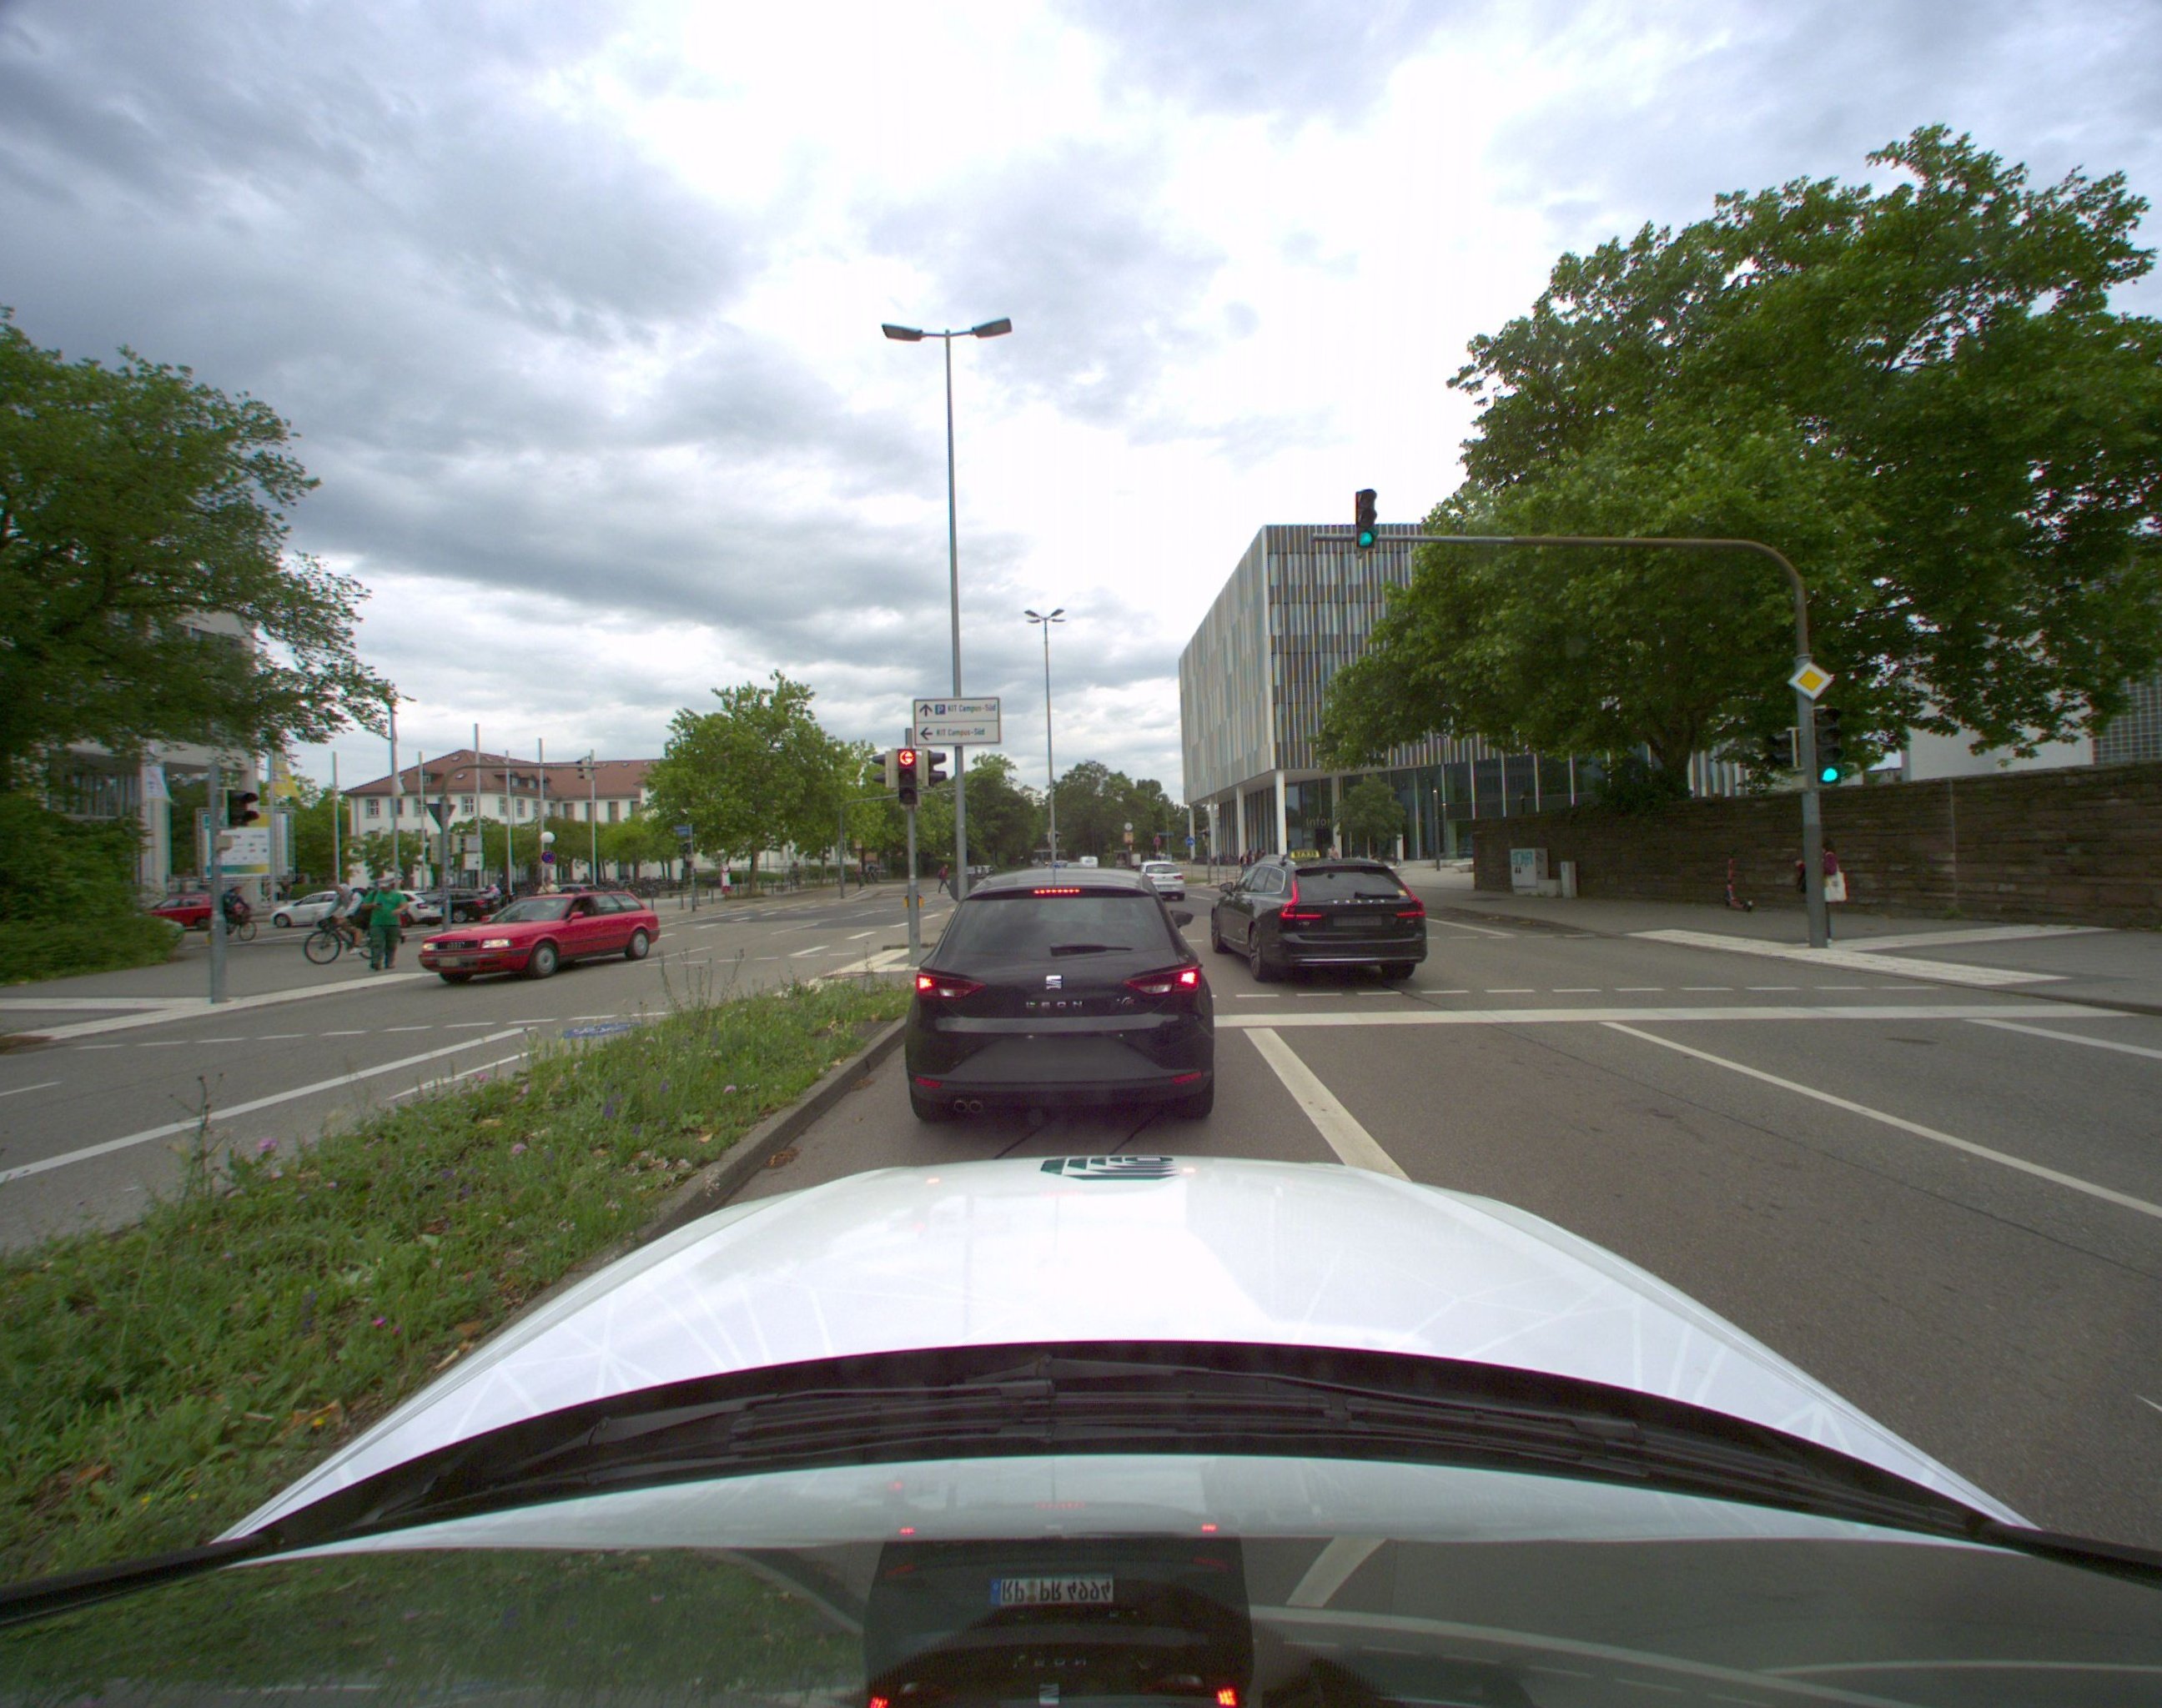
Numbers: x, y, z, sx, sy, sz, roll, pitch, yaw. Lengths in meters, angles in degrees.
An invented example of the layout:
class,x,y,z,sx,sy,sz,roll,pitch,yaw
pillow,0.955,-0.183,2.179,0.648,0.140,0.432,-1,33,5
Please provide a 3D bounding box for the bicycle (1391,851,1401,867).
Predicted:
class,x,y,z,sx,sy,sz,roll,pitch,yaw
bicycle,22.534,0.331,58.295,0.616,1.056,1.959,-3,0,21

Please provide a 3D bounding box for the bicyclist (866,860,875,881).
class,x,y,z,sx,sy,sz,roll,pitch,yaw
bicyclist,-16.417,1.280,63.464,0.489,1.625,0.588,0,1,1

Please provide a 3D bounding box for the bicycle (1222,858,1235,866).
class,x,y,z,sx,sy,sz,roll,pitch,yaw
bicycle,15.704,0.865,86.681,1.232,0.705,0.490,-3,0,10

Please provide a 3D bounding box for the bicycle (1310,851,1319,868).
class,x,y,z,sx,sy,sz,roll,pitch,yaw
bicycle,18.402,0.413,64.114,0.522,1.253,1.674,-3,0,20

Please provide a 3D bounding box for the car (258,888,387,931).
class,x,y,z,sx,sy,sz,roll,pitch,yaw
car,-33.053,2.403,35.564,3.868,1.539,1.684,-2,2,-2

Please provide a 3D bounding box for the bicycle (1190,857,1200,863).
class,x,y,z,sx,sy,sz,roll,pitch,yaw
bicycle,14.950,0.775,106.694,1.239,0.823,0.479,0,-1,-21

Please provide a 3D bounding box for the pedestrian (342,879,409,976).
class,x,y,z,sx,sy,sz,roll,pitch,yaw
pedestrian,-13.517,1.365,15.609,0.948,1.759,0.865,0,-2,-42

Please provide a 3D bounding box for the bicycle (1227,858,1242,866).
class,x,y,z,sx,sy,sz,roll,pitch,yaw
bicycle,15.832,0.833,83.987,1.368,0.705,0.416,-3,0,4

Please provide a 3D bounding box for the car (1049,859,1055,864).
class,x,y,z,sx,sy,sz,roll,pitch,yaw
car,-9.350,2.455,262.384,1.692,1.503,4.003,-3,0,-5

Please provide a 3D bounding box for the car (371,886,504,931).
class,x,y,z,sx,sy,sz,roll,pitch,yaw
car,-27.556,2.305,35.000,4.059,1.452,1.615,-3,5,-16

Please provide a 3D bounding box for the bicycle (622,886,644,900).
class,x,y,z,sx,sy,sz,roll,pitch,yaw
bicycle,-30.903,2.714,56.190,1.211,0.880,0.262,-4,0,-22

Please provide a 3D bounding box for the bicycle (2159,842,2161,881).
class,x,y,z,sx,sy,sz,roll,pitch,yaw
bicycle,13.551,0.411,8.916,0.801,1.174,1.952,-5,0,-3

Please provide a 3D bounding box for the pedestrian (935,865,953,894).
class,x,y,z,sx,sy,sz,roll,pitch,yaw
pedestrian,-7.804,1.433,46.348,0.873,1.586,0.542,-3,0,-5

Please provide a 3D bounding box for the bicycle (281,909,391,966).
class,x,y,z,sx,sy,sz,roll,pitch,yaw
bicycle,-15.520,1.716,17.019,0.662,1.062,1.624,-1,-1,10

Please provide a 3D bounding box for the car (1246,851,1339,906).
class,x,y,z,sx,sy,sz,roll,pitch,yaw
car,6.779,0.738,26.547,1.901,1.624,4.491,-1,0,1

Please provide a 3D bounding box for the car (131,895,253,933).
class,x,y,z,sx,sy,sz,roll,pitch,yaw
car,-38.180,2.550,35.045,3.341,1.479,1.559,-1,0,-5

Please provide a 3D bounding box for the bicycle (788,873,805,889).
class,x,y,z,sx,sy,sz,roll,pitch,yaw
bicycle,-21.024,1.969,60.209,0.606,1.060,2.041,-3,0,-4

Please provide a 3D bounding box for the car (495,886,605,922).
class,x,y,z,sx,sy,sz,roll,pitch,yaw
car,-23.373,2.184,35.955,3.649,1.223,1.562,-1,7,-5

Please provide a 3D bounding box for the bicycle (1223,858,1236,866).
class,x,y,z,sx,sy,sz,roll,pitch,yaw
bicycle,15.627,0.870,85.790,1.366,0.705,0.490,-3,0,10

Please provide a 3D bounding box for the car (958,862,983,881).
class,x,y,z,sx,sy,sz,roll,pitch,yaw
car,-11.694,1.843,86.760,1.899,1.717,4.002,-3,0,2

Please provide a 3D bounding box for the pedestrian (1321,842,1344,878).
class,x,y,z,sx,sy,sz,roll,pitch,yaw
pedestrian,12.857,0.287,41.680,0.844,1.765,0.768,-3,0,1

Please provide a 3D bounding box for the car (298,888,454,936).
class,x,y,z,sx,sy,sz,roll,pitch,yaw
car,-27.117,2.212,31.436,4.210,1.431,1.706,-4,0,-7

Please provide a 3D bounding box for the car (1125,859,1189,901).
class,x,y,z,sx,sy,sz,roll,pitch,yaw
car,2.837,0.946,31.081,1.778,1.463,3.864,-1,0,-5

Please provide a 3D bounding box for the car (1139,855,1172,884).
class,x,y,z,sx,sy,sz,roll,pitch,yaw
car,4.287,0.913,47.432,1.817,1.551,4.531,0,-1,4

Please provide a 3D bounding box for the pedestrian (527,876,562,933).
class,x,y,z,sx,sy,sz,roll,pitch,yaw
pedestrian,-17.014,1.604,25.838,0.845,1.740,0.823,-1,-5,-29

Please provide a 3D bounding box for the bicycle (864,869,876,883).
class,x,y,z,sx,sy,sz,roll,pitch,yaw
bicycle,-16.415,1.727,63.476,0.486,1.005,1.590,-1,1,2

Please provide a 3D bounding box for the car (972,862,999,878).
class,x,y,z,sx,sy,sz,roll,pitch,yaw
car,-11.321,1.855,96.362,1.746,1.587,4.016,-3,0,15

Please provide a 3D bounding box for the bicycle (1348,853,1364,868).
class,x,y,z,sx,sy,sz,roll,pitch,yaw
bicycle,20.599,0.476,60.969,0.688,0.946,1.997,-3,0,32

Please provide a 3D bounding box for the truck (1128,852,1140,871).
class,x,y,z,sx,sy,sz,roll,pitch,yaw
truck,6.617,0.859,101.601,1.313,2.243,3.403,-3,0,2

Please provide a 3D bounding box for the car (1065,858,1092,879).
class,x,y,z,sx,sy,sz,roll,pitch,yaw
car,-0.235,1.077,61.136,1.719,1.414,4.239,-1,0,-4

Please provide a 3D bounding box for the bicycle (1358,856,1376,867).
class,x,y,z,sx,sy,sz,roll,pitch,yaw
bicycle,21.186,0.537,60.296,1.535,0.716,0.513,-4,0,-42

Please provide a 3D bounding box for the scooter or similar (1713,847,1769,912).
class,x,y,z,sx,sy,sz,roll,pitch,yaw
scooter or similar,13.085,0.477,16.175,0.428,1.179,1.714,-4,0,26

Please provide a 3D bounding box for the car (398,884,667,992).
class,x,y,z,sx,sy,sz,roll,pitch,yaw
car,-9.614,1.379,14.784,1.706,1.418,4.298,-3,0,3

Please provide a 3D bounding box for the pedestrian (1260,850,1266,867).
class,x,y,z,sx,sy,sz,roll,pitch,yaw
pedestrian,15.314,0.373,68.518,0.469,1.361,0.447,-3,0,12

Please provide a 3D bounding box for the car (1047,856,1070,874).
class,x,y,z,sx,sy,sz,roll,pitch,yaw
car,-2.154,1.053,77.580,1.728,1.603,4.095,-1,0,-7

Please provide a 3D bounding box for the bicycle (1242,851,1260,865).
class,x,y,z,sx,sy,sz,roll,pitch,yaw
bicycle,16.174,0.420,77.516,1.785,1.211,0.564,-4,0,-32

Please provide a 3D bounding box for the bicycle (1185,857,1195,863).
class,x,y,z,sx,sy,sz,roll,pitch,yaw
bicycle,14.543,0.803,108.814,1.262,0.848,0.479,1,-2,-21

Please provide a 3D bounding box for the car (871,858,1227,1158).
class,x,y,z,sx,sy,sz,roll,pitch,yaw
car,-0.027,0.770,5.894,1.745,1.432,3.773,-1,0,4

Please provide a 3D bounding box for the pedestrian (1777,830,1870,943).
class,x,y,z,sx,sy,sz,roll,pitch,yaw
pedestrian,10.994,0.469,12.076,0.657,1.561,0.636,-6,0,1

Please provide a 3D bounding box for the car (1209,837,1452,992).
class,x,y,z,sx,sy,sz,roll,pitch,yaw
car,2.979,0.647,10.823,1.877,1.600,4.447,-1,0,0

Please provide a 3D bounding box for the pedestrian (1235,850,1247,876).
class,x,y,z,sx,sy,sz,roll,pitch,yaw
pedestrian,10.085,0.583,51.356,0.684,1.640,0.633,-1,0,1

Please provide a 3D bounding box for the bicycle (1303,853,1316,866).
class,x,y,z,sx,sy,sz,roll,pitch,yaw
bicycle,18.790,0.447,66.899,0.614,1.045,1.716,-3,0,28

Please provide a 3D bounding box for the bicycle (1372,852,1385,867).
class,x,y,z,sx,sy,sz,roll,pitch,yaw
bicycle,21.657,0.390,59.242,0.802,1.056,1.959,-3,0,21

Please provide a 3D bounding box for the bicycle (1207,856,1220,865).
class,x,y,z,sx,sy,sz,roll,pitch,yaw
bicycle,14.960,0.762,91.674,1.379,0.942,0.489,-3,0,8

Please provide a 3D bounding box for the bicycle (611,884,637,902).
class,x,y,z,sx,sy,sz,roll,pitch,yaw
bicycle,-31.089,2.657,55.427,1.405,1.052,0.585,-4,0,-19

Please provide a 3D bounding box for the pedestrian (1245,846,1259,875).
class,x,y,z,sx,sy,sz,roll,pitch,yaw
pedestrian,10.767,0.392,51.289,0.684,1.781,0.677,-2,0,1

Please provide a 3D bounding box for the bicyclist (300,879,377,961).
class,x,y,z,sx,sy,sz,roll,pitch,yaw
bicyclist,-15.517,1.360,17.049,0.662,1.635,0.964,-1,-1,10

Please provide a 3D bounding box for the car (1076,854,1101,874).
class,x,y,z,sx,sy,sz,roll,pitch,yaw
car,0.776,0.950,83.058,1.965,1.972,4.332,0,0,-7

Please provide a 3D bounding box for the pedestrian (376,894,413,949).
class,x,y,z,sx,sy,sz,roll,pitch,yaw
pedestrian,-19.718,1.939,23.400,0.572,1.527,0.842,-2,-5,-22

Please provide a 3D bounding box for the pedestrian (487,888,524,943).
class,x,y,z,sx,sy,sz,roll,pitch,yaw
pedestrian,-16.894,1.789,23.894,0.796,1.558,0.691,1,-5,-42
